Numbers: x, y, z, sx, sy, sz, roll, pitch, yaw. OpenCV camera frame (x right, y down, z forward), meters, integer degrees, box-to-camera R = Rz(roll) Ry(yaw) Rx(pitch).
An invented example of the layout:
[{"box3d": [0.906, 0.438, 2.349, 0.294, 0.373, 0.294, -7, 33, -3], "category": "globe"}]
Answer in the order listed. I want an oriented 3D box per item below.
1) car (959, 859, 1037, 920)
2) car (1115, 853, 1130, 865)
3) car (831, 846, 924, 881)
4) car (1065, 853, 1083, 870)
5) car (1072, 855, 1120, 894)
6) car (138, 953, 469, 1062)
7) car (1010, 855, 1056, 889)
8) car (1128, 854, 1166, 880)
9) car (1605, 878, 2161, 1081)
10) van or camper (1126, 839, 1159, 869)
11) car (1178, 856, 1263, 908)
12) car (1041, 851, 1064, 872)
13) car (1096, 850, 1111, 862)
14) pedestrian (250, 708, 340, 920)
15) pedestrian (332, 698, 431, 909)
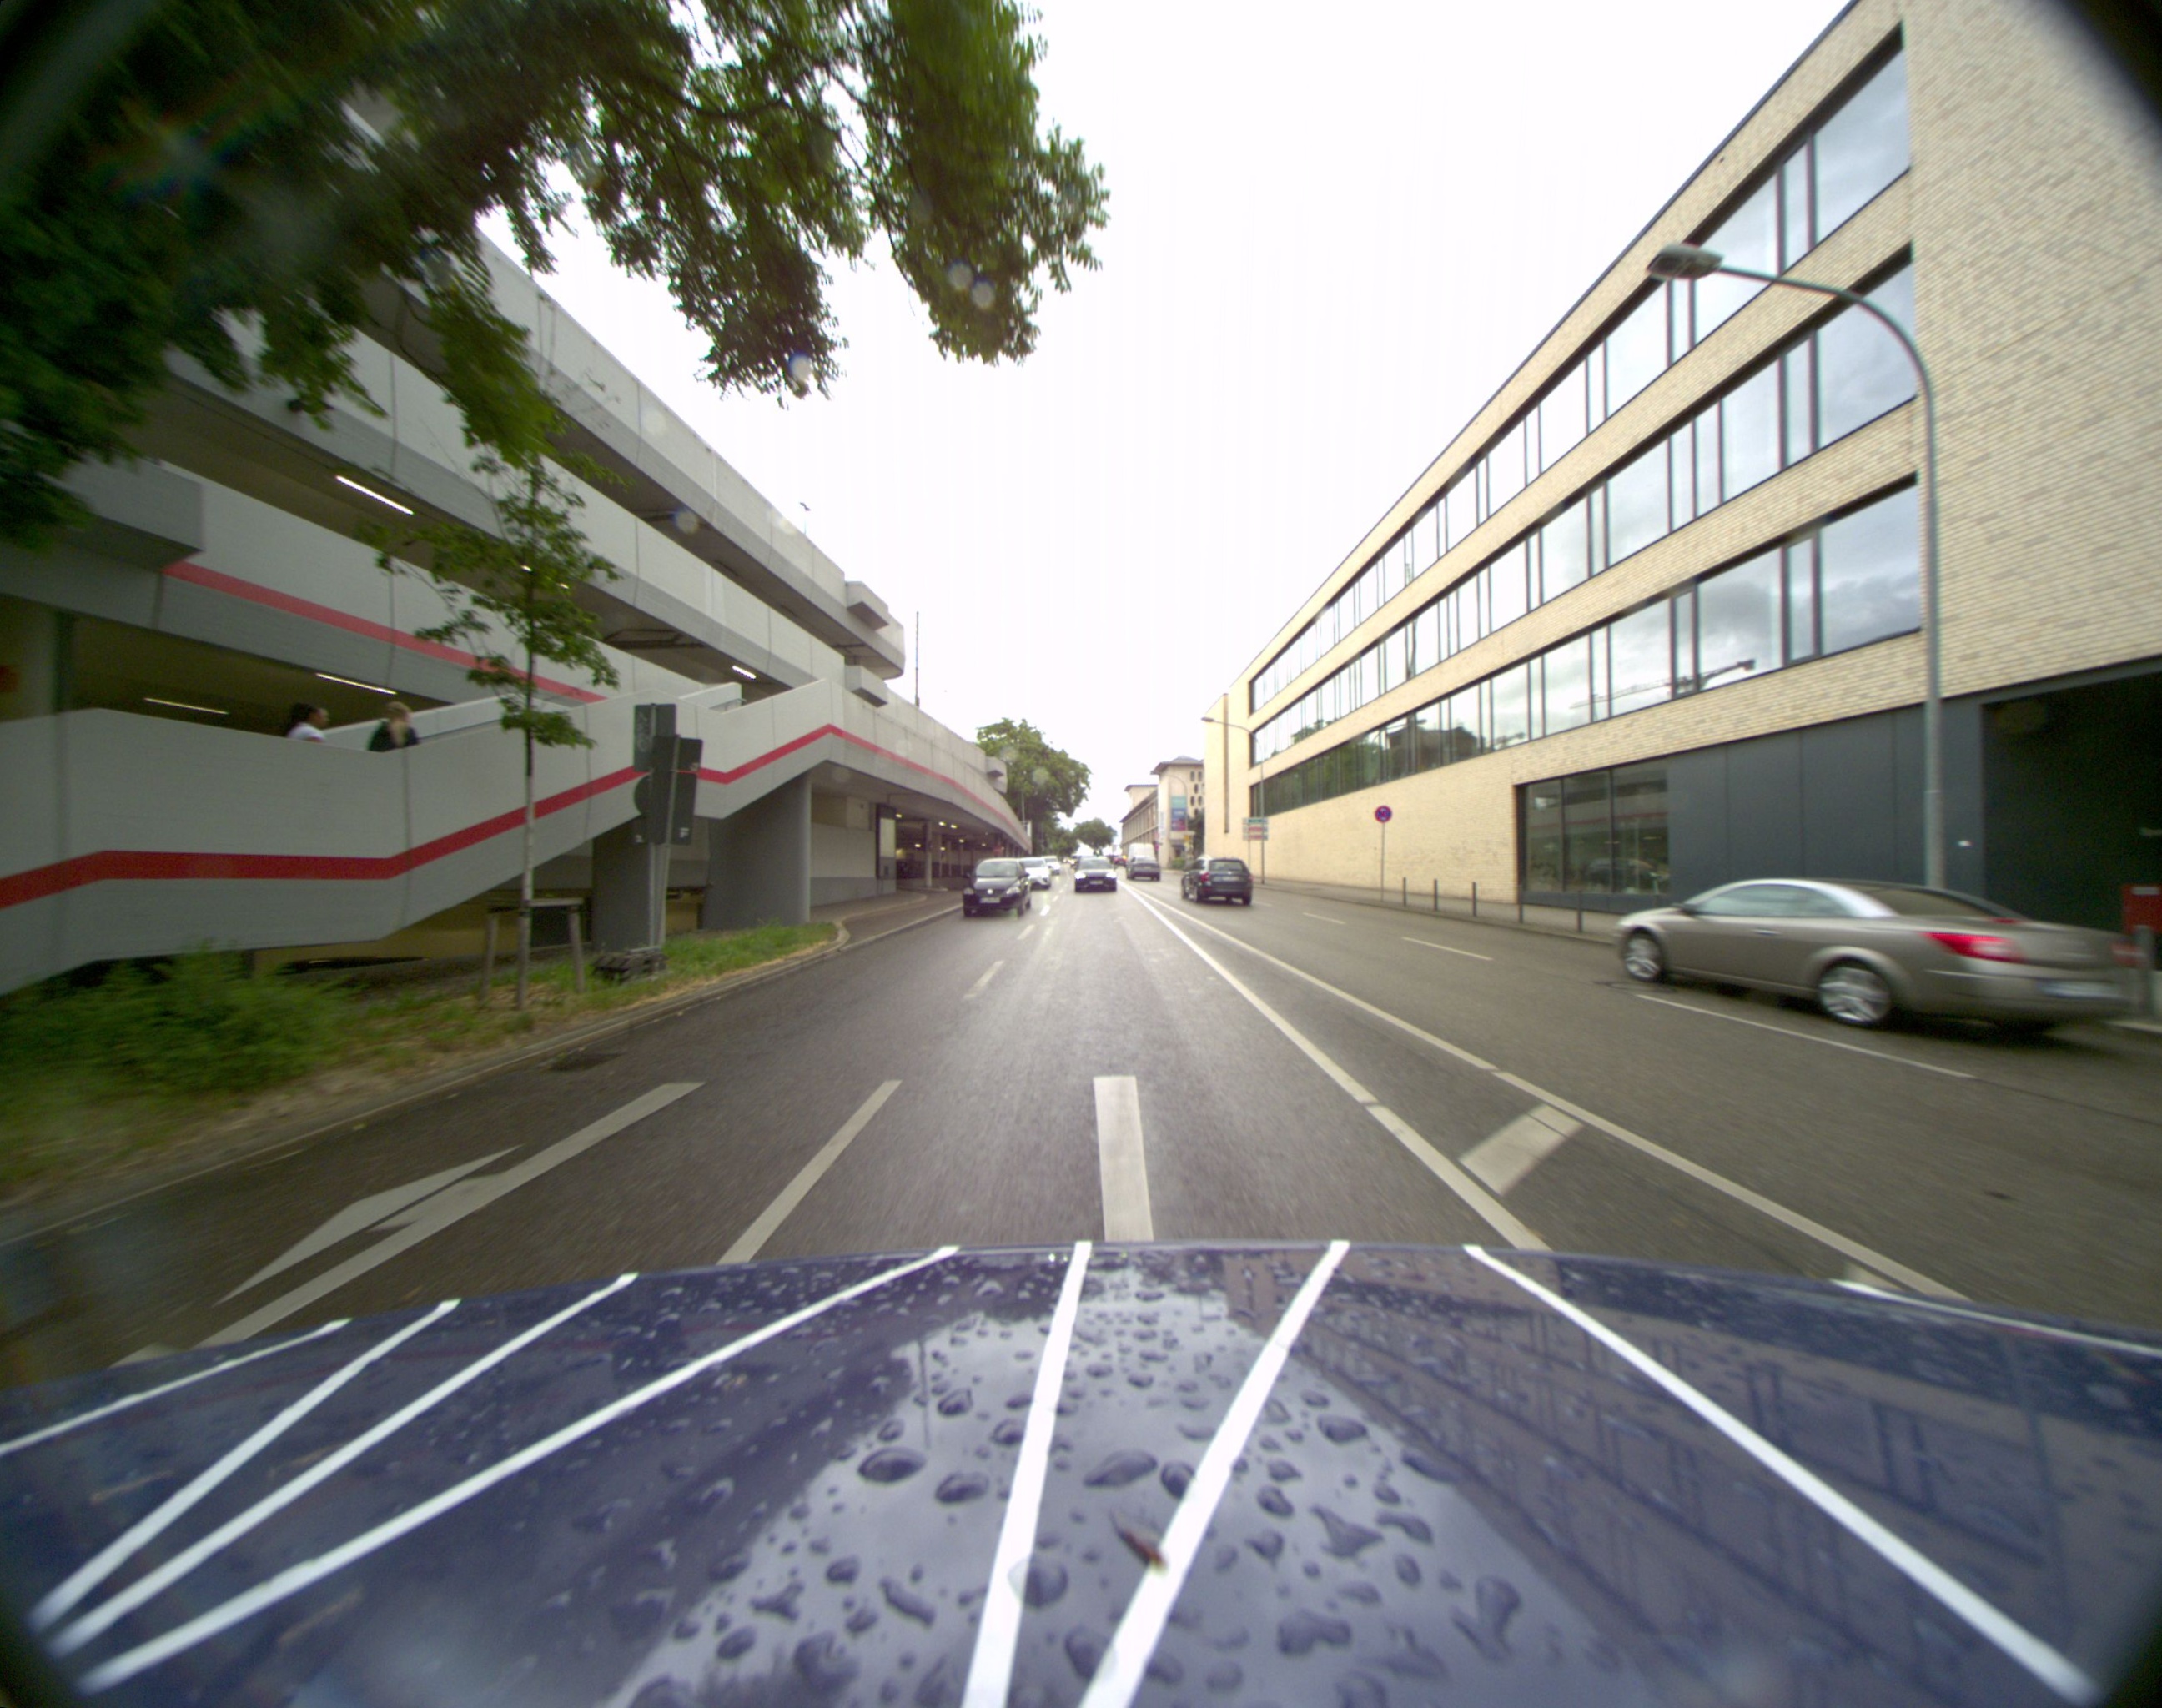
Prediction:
[{"box3d": [-2.286, 0.947, 21.783, 1.683, 1.516, 3.990, -2, 0, 1], "category": "car"}, {"box3d": [5.825, 0.693, 106.627, 1.860, 1.652, 4.000, -2, 0, 0], "category": "car"}, {"box3d": [-10.665, 0.524, 40.015, 4.251, 1.650, 2.003, -1, -4, 10], "category": "car"}, {"box3d": [-0.842, 0.899, 93.523, 1.998, 2.002, 3.999, -2, 1, 0], "category": "car"}, {"box3d": [0.626, 0.842, 32.432, 1.852, 1.516, 3.990, -2, 0, 1], "category": "car"}, {"box3d": [-13.007, 2.536, 12.867, 3.938, 1.530, 1.840, -1, -3, 6], "category": "car"}, {"box3d": [-2.245, 0.815, 36.719, 1.915, 1.443, 4.036, -2, 1, 0], "category": "car"}, {"box3d": [4.103, 0.790, 47.933, 1.888, 1.489, 4.561, 1, 0, -2], "category": "car"}, {"box3d": [7.906, 1.036, 7.948, 1.834, 1.380, 4.229, 2, 0, -1], "category": "car"}, {"box3d": [5.604, -0.005, 70.224, 2.108, 2.567, 5.905, 1, 0, -5], "category": "van or camper"}, {"box3d": [4.457, 0.839, 24.925, 1.816, 1.454, 4.287, 2, 1, -2], "category": "car"}, {"box3d": [-2.379, 0.623, 64.740, 1.727, 1.628, 3.999, -2, 1, 1], "category": "car"}, {"box3d": [2.840, 0.285, 98.044, 1.745, 1.461, 3.881, 1, 0, -1], "category": "car"}, {"box3d": [-8.179, -0.404, 7.915, 0.422, 2.141, 0.434, -1, 1, 5], "category": "pedestrian"}, {"box3d": [-7.340, -0.514, 7.990, 0.515, 2.141, 0.494, -1, 1, 5], "category": "pedestrian"}]
